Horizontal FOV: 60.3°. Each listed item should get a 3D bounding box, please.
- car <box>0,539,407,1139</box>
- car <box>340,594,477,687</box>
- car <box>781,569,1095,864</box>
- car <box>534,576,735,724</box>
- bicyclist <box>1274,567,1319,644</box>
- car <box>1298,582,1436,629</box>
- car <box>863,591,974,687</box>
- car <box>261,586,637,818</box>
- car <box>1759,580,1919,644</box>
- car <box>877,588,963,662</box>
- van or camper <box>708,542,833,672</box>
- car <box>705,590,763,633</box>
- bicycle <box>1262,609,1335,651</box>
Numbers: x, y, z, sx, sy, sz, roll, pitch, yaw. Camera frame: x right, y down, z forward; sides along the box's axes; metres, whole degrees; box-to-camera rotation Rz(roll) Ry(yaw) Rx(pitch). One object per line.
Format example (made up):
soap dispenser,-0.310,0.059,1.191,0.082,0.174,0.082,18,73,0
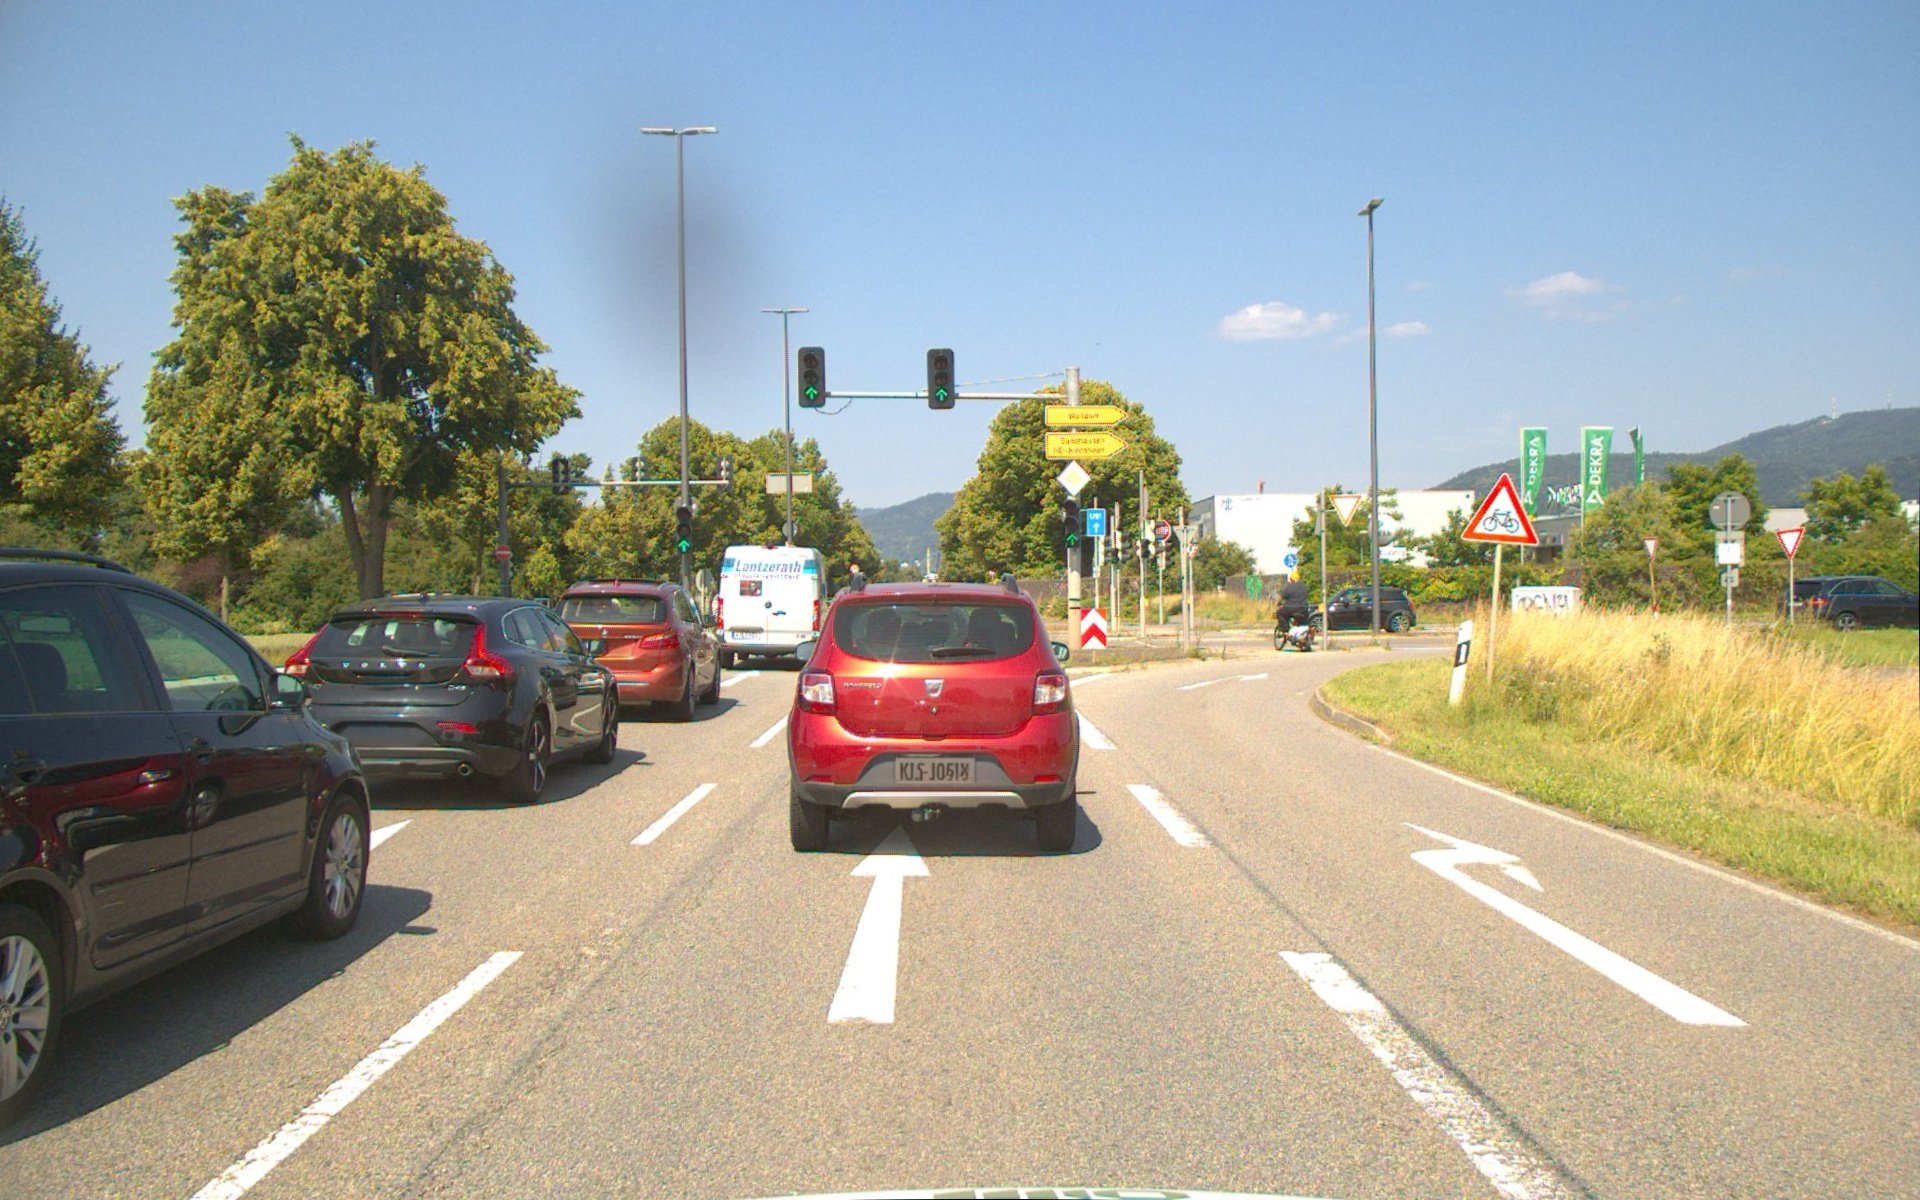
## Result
car,-3.409,0.602,5.719,1.688,1.603,3.892,1,1,0
car,-10.789,0.736,32.630,1.712,1.667,4.130,-1,0,-6
car,-0.097,0.627,10.886,1.713,1.603,3.677,0,0,1
car,-3.840,0.538,20.126,1.689,1.628,3.955,0,0,0
bicyclist,8.080,0.121,39.735,0.787,1.802,0.807,-1,0,-10
car,12.437,0.152,50.730,3.902,1.350,1.807,-1,0,6
car,-0.638,0.599,27.682,1.713,1.483,3.677,0,1,1
car,-3.711,0.645,12.736,1.667,1.467,3.955,1,1,0
car,23.874,0.307,44.148,4.248,1.645,1.995,0,0,-11
car,-0.803,0.486,35.282,1.713,1.483,3.677,0,1,1
van or camper,-3.639,0.120,32.567,2.136,2.343,4.823,1,0,-3
car,-9.435,0.459,69.299,1.953,1.699,3.999,-1,1,-1
bicycle,8.104,0.701,39.737,0.747,0.931,2.773,-1,1,-9
